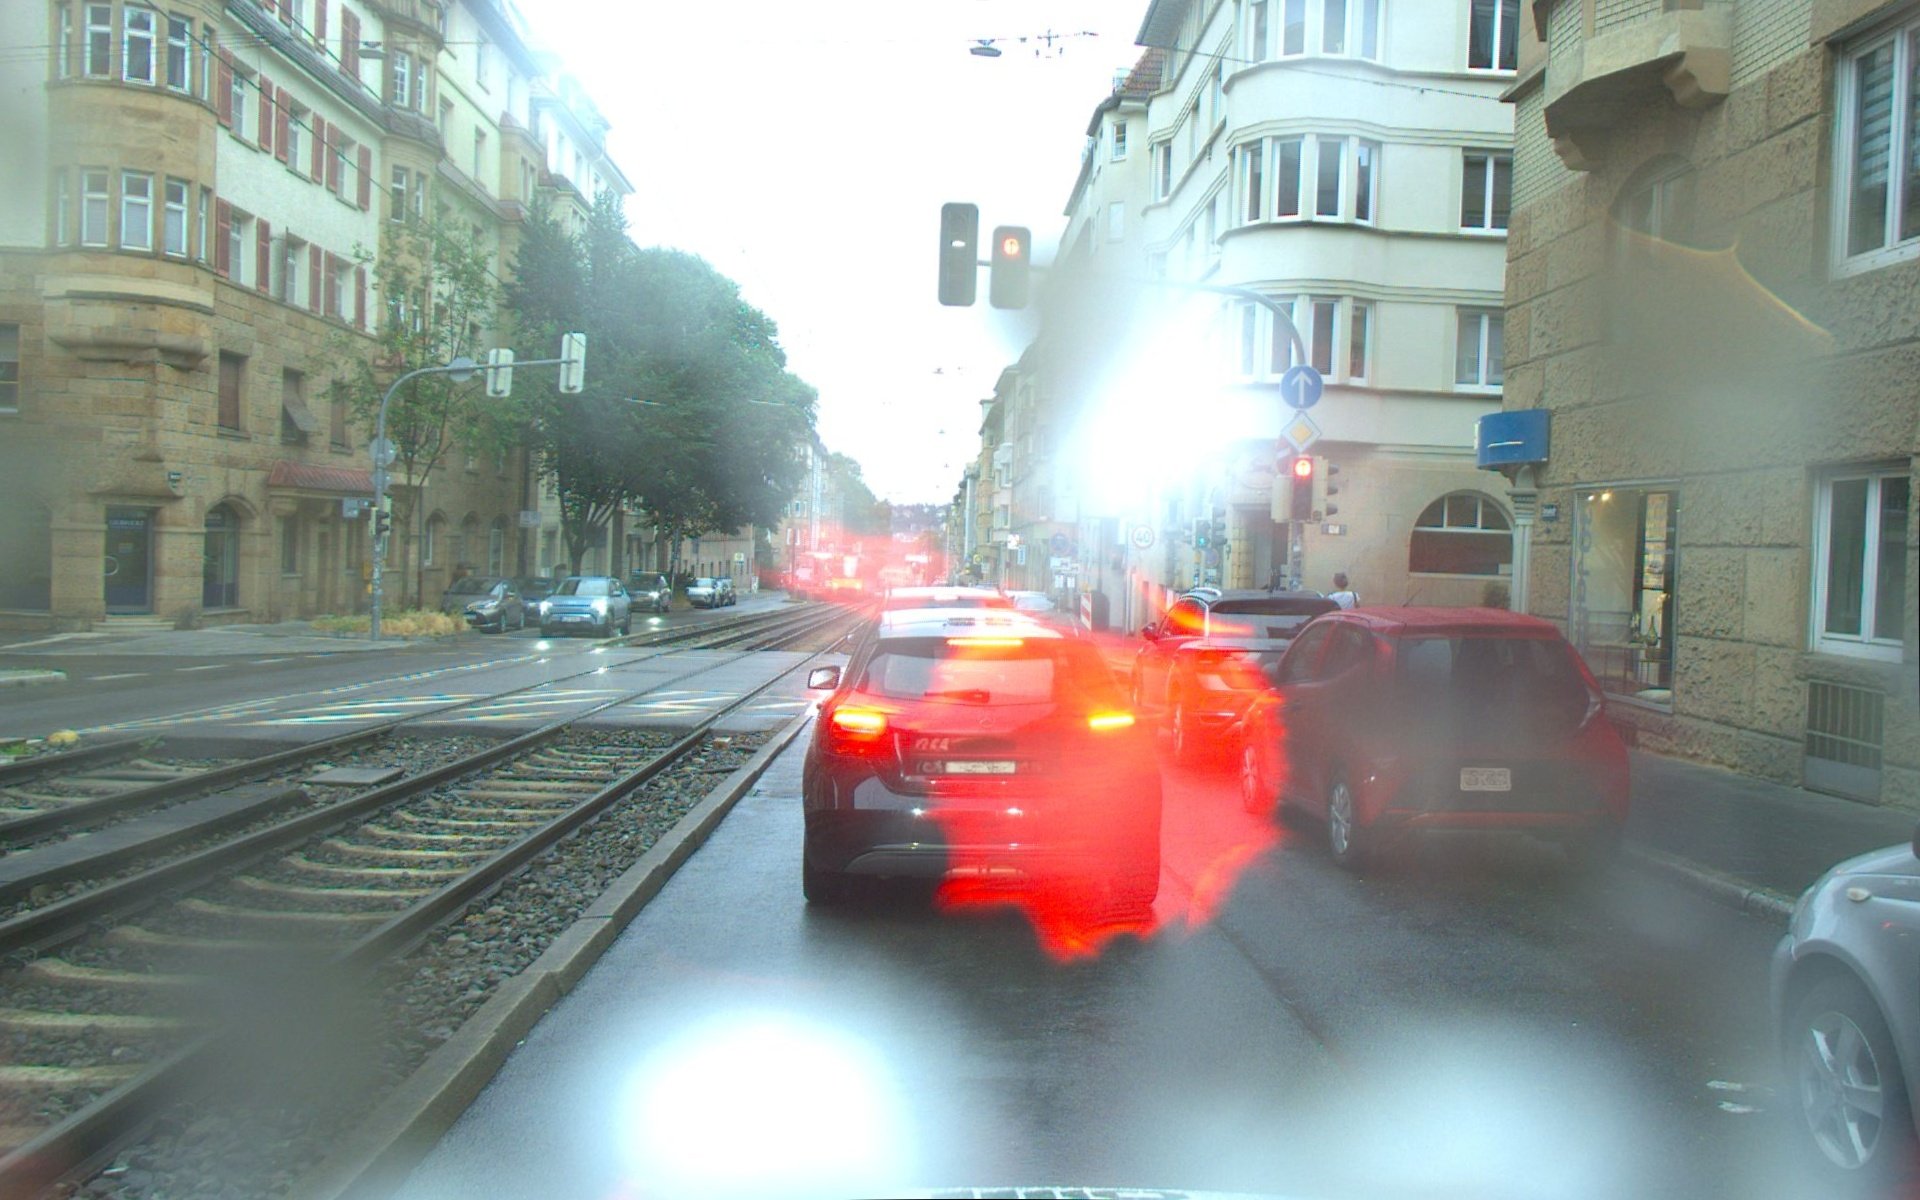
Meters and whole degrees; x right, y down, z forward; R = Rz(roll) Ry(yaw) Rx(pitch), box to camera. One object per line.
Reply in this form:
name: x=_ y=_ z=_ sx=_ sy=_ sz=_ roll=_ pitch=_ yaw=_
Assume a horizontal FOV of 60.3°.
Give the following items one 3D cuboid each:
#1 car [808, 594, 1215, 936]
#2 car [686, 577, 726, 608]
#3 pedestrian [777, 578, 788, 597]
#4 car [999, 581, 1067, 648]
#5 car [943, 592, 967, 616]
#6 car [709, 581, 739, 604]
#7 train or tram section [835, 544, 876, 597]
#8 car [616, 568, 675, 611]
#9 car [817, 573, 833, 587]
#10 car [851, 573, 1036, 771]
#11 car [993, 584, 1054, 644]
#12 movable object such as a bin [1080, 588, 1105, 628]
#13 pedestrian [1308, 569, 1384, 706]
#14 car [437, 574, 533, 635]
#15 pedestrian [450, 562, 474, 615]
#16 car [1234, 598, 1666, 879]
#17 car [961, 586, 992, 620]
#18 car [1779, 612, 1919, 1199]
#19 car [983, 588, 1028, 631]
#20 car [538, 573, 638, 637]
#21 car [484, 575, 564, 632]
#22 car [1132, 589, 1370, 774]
car: x=0.201 y=0.731 z=9.432 sx=1.792 sy=1.483 sz=4.103 roll=1 pitch=0 yaw=-1
car: x=-13.646 y=-0.386 z=88.947 sx=1.557 sy=1.608 sz=3.917 roll=1 pitch=0 yaw=-1
pedestrian: x=-18.976 y=-1.378 z=176.987 sx=1.031 sy=1.992 sz=1.043 roll=2 pitch=0 yaw=0
car: x=1.849 y=0.349 z=42.647 sx=1.513 sy=1.618 sz=3.547 roll=1 pitch=0 yaw=-1
car: x=-0.365 y=0.258 z=119.084 sx=1.512 sy=1.664 sz=3.687 roll=1 pitch=0 yaw=2
car: x=-14.013 y=-0.442 z=98.352 sx=1.419 sy=1.354 sz=3.270 roll=1 pitch=0 yaw=-3
train or tram section: x=-8.337 y=-2.266 z=132.529 sx=2.726 sy=3.928 sz=10.427 roll=1 pitch=0 yaw=-1
car: x=-13.551 y=-0.415 z=71.486 sx=1.837 sy=1.767 sz=3.917 roll=1 pitch=0 yaw=-1
car: x=-12.235 y=-1.801 z=149.902 sx=1.349 sy=1.271 sz=3.296 roll=1 pitch=0 yaw=-2
car: x=-0.166 y=0.616 z=15.815 sx=1.533 sy=1.637 sz=3.813 roll=1 pitch=0 yaw=-1
car: x=1.779 y=0.376 z=47.121 sx=1.513 sy=1.618 sz=3.547 roll=1 pitch=0 yaw=-1
movable object such as a bin: x=4.774 y=0.301 z=59.624 sx=0.859 sy=1.413 sz=0.983 roll=1 pitch=-1 yaw=3
pedestrian: x=5.155 y=0.494 z=22.133 sx=0.726 sy=1.778 sz=1.111 roll=1 pitch=-1 yaw=-1
car: x=-13.002 y=0.125 z=45.477 sx=1.718 sy=1.579 sz=4.032 roll=1 pitch=0 yaw=-4
pedestrian: x=-16.170 y=-0.376 z=53.725 sx=0.619 sy=1.702 sz=0.701 roll=1 pitch=-1 yaw=-7
car: x=2.916 y=0.748 z=10.542 sx=1.609 sy=1.473 sz=3.297 roll=1 pitch=0 yaw=-3
car: x=0.734 y=0.130 z=73.587 sx=1.268 sy=1.467 sz=2.928 roll=1 pitch=0 yaw=-1
car: x=3.133 y=0.787 z=3.082 sx=1.581 sy=1.493 sz=3.312 roll=0 pitch=0 yaw=0
car: x=1.674 y=0.324 z=61.530 sx=1.513 sy=1.512 sz=3.547 roll=1 pitch=0 yaw=-1
car: x=-10.037 y=0.142 z=44.908 sx=1.860 sy=1.615 sz=3.972 roll=1 pitch=0 yaw=-1
car: x=-13.266 y=0.106 z=50.503 sx=1.683 sy=1.639 sz=3.914 roll=1 pitch=0 yaw=-5
car: x=2.640 y=0.676 z=15.777 sx=1.513 sy=1.512 sz=3.829 roll=1 pitch=0 yaw=-1
